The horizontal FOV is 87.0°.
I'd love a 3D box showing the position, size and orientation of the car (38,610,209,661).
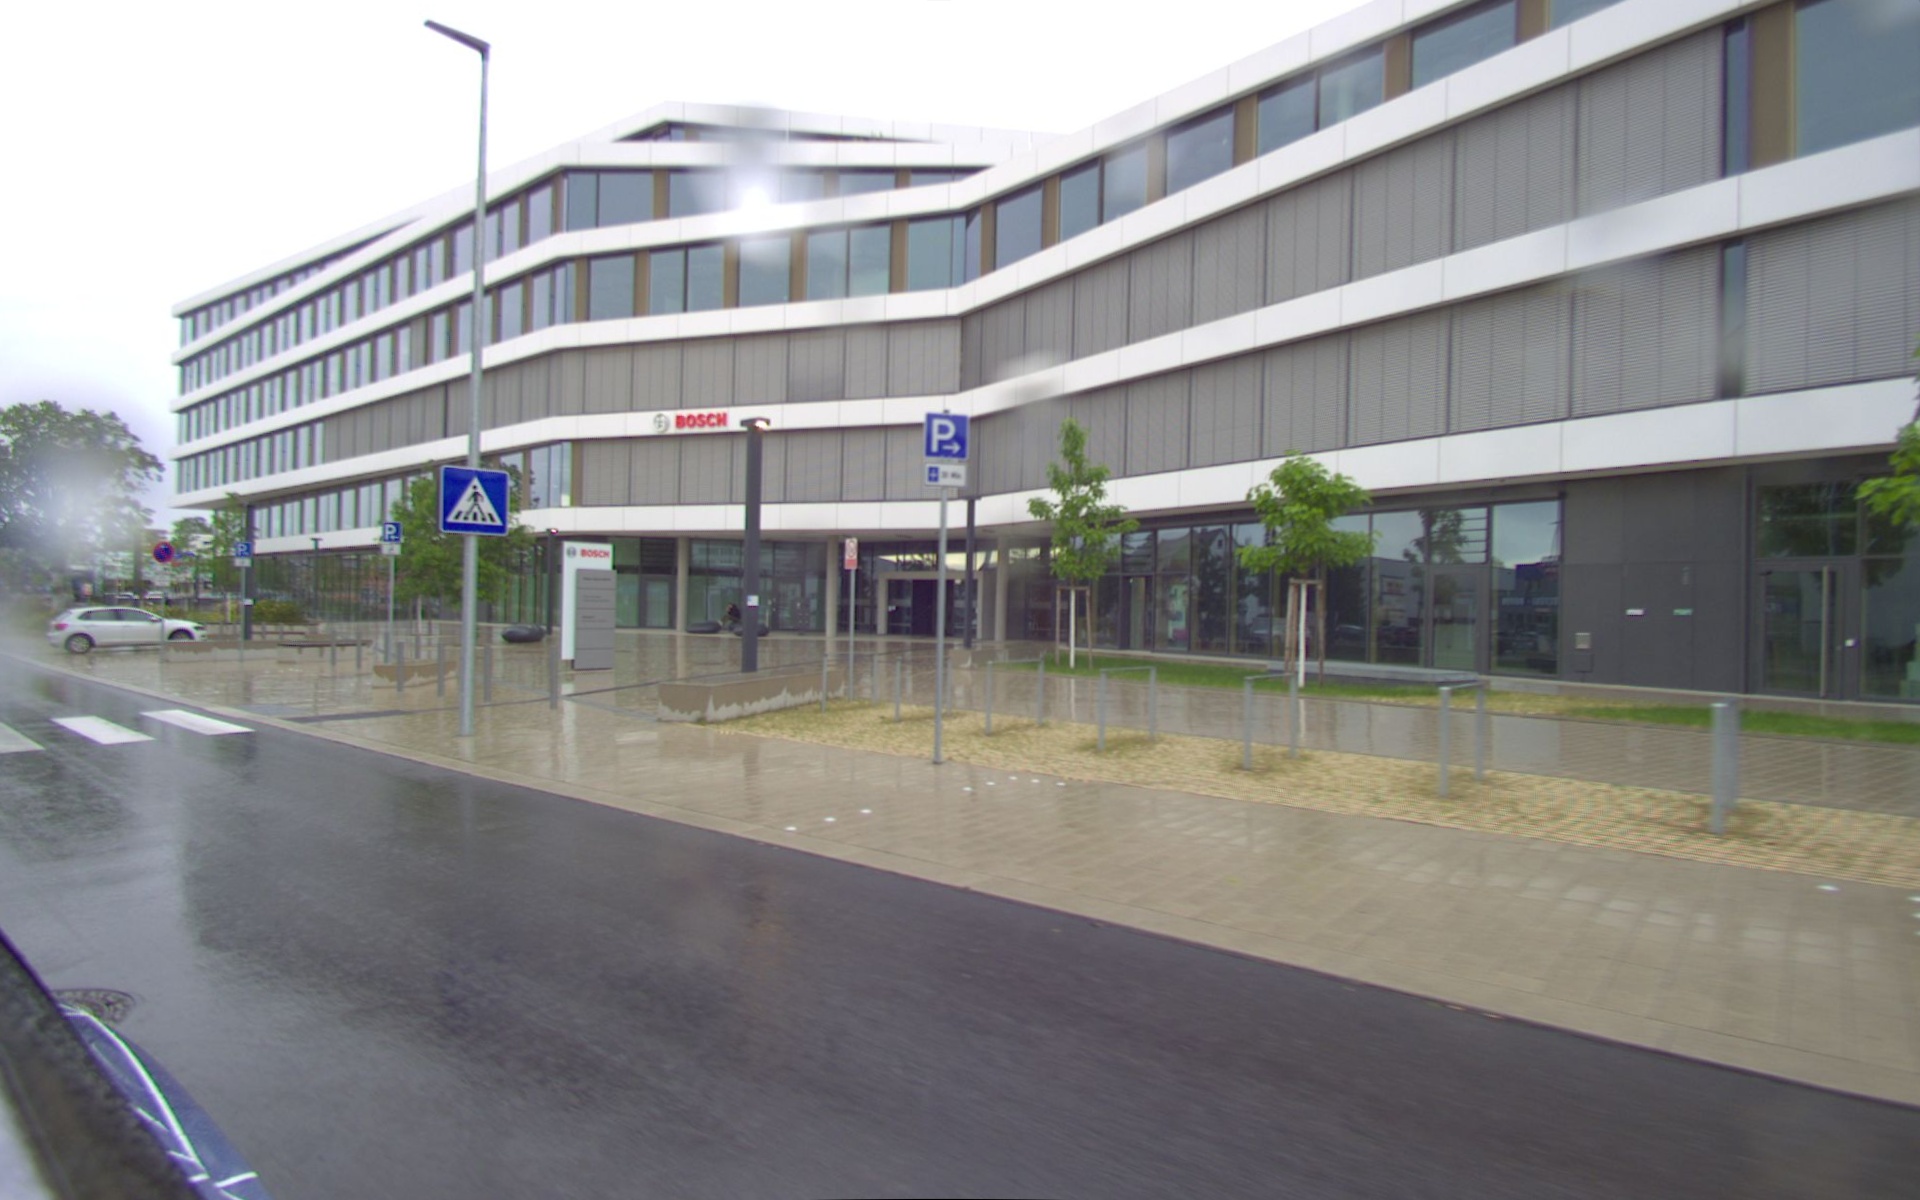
[{"bbox_3d":[-27.104,1.105,32.878,2.001,1.430,4.110,-1,0,45],"label":"car"}]
